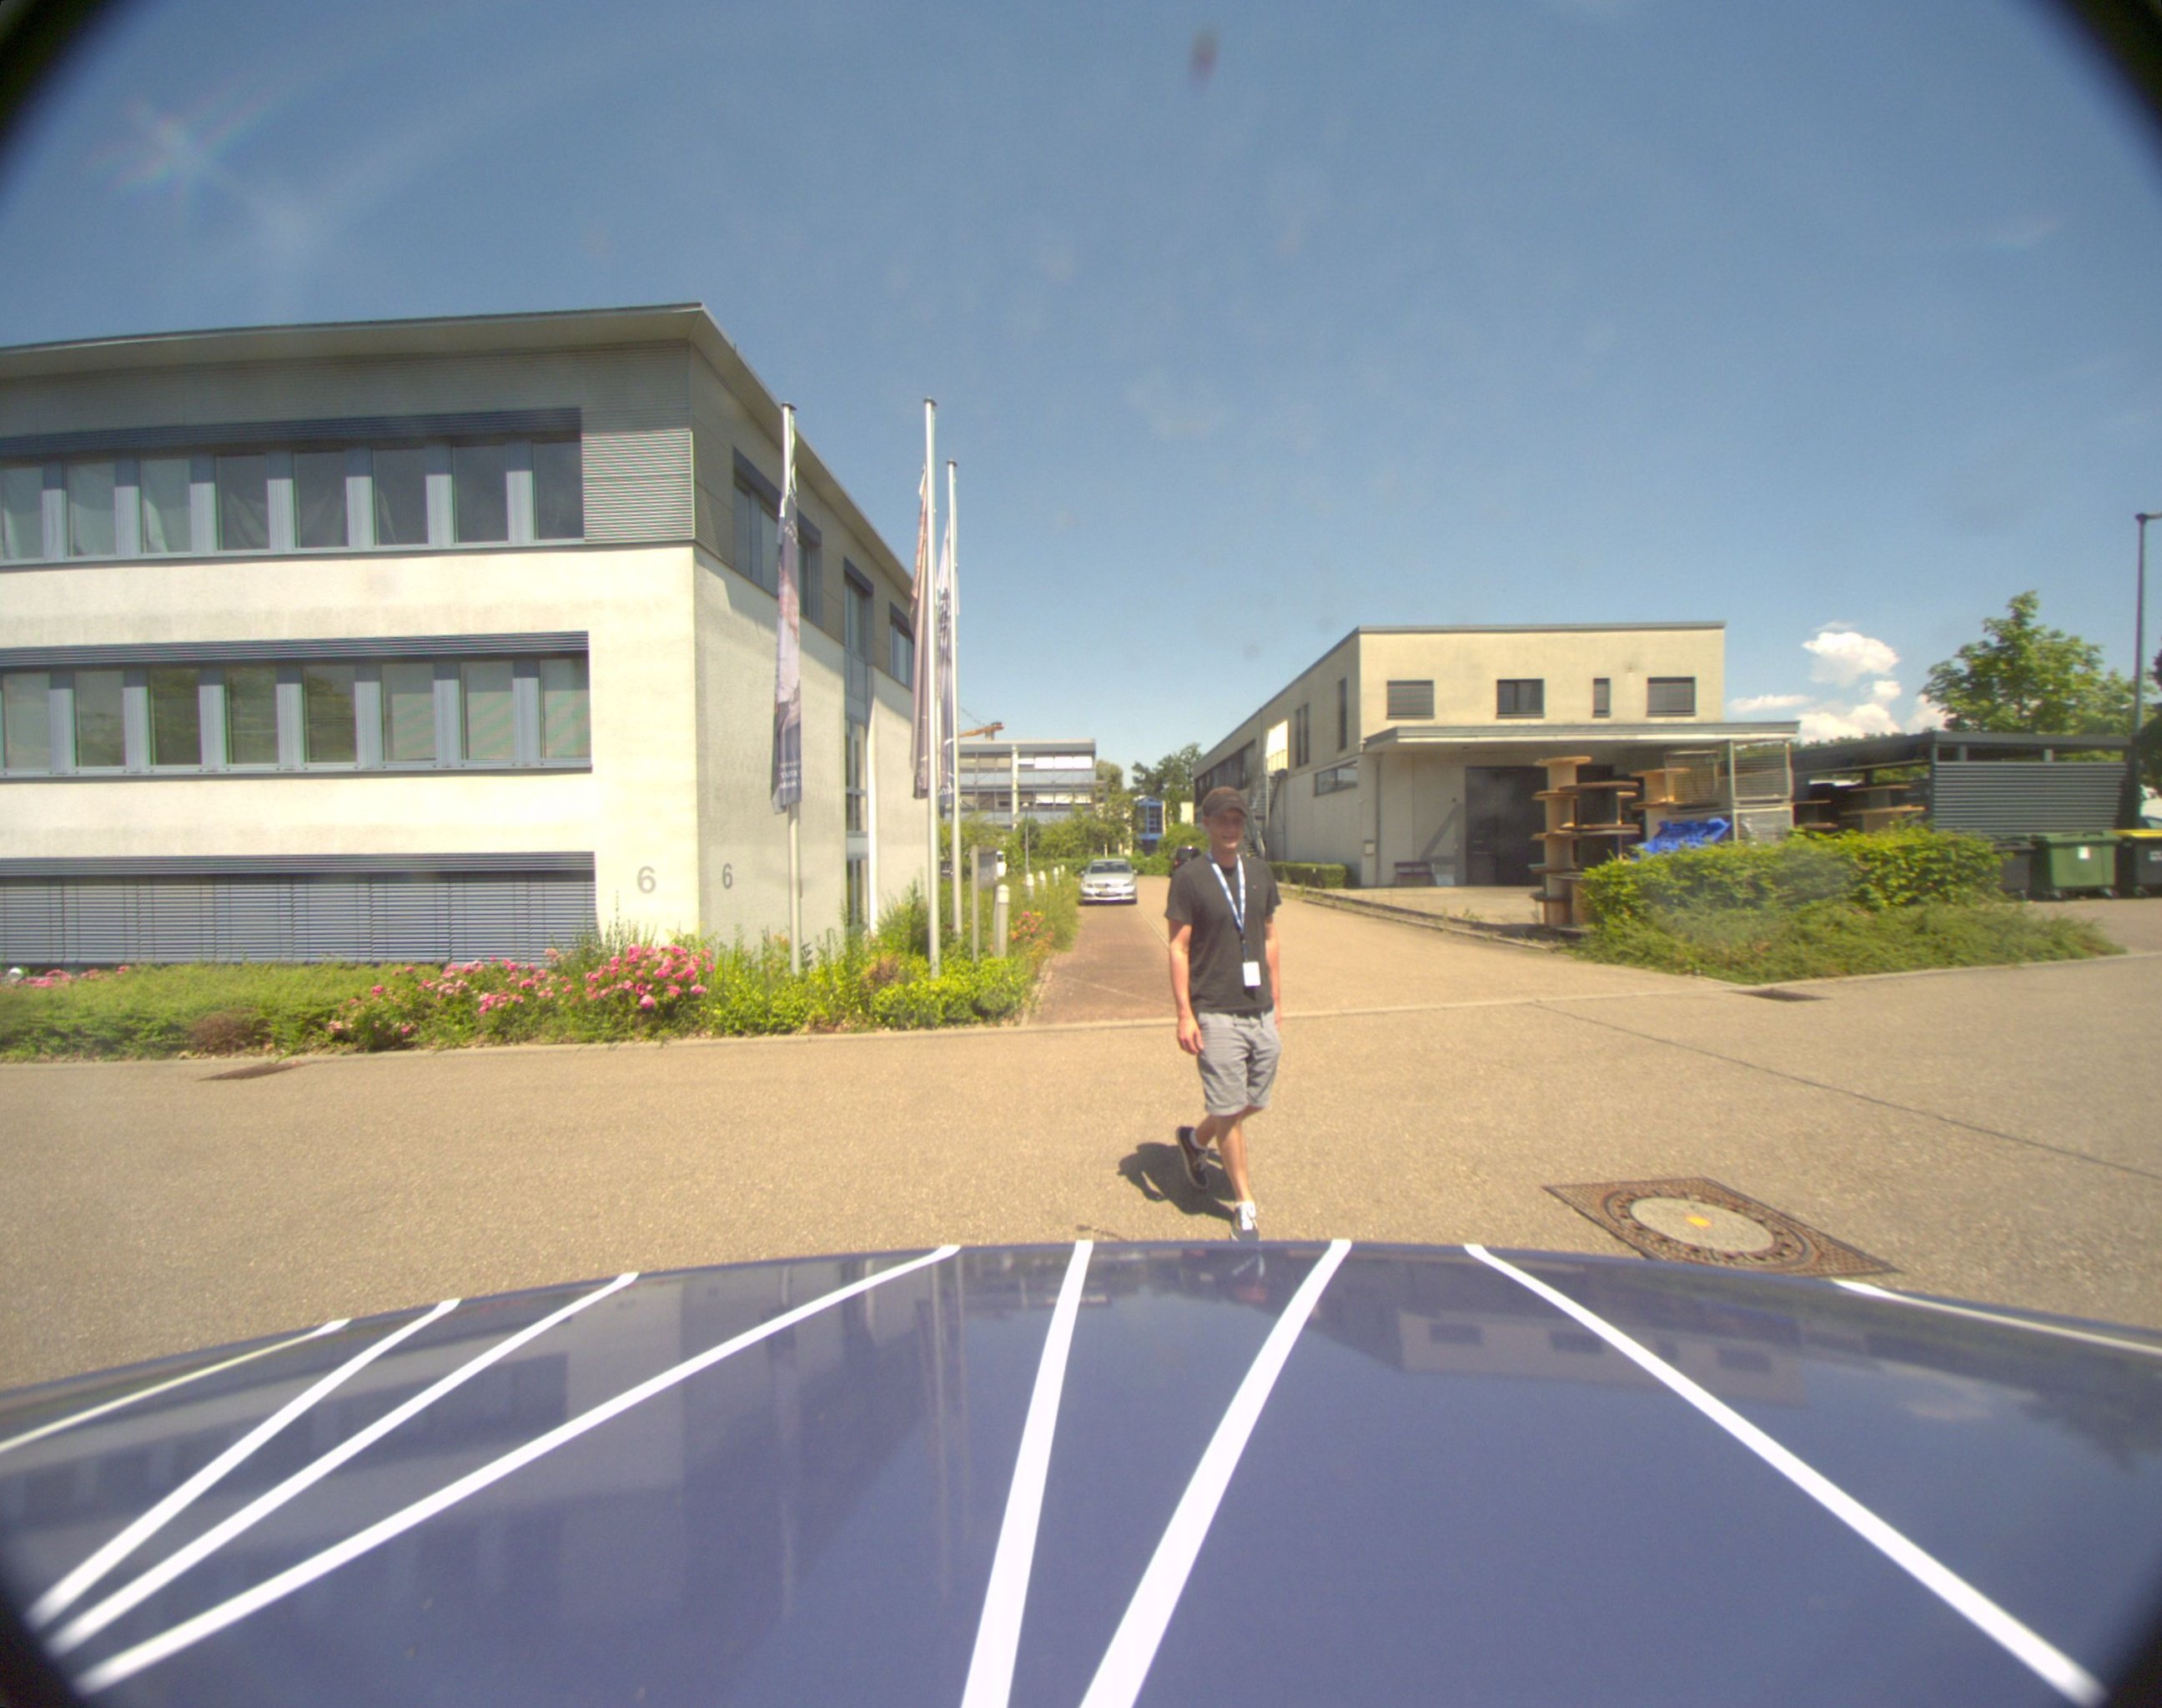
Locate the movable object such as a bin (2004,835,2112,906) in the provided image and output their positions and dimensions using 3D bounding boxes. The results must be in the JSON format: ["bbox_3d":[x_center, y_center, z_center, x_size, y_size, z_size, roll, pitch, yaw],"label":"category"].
[{"bbox_3d":[19.128,0.313,14.895,1.071,1.329,0.760,-2,1,6],"label":"movable object such as a bin"}]

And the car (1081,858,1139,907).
[{"bbox_3d":[1.017,0.881,24.839,1.710,1.383,3.812,-1,1,5],"label":"car"}]

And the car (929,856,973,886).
[{"bbox_3d":[-7.679,0.967,45.330,1.787,1.537,4.000,-2,1,1],"label":"car"}]

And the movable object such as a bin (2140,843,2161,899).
[{"bbox_3d":[21.580,0.322,14.732,0.987,1.078,0.760,-2,1,6],"label":"movable object such as a bin"}]

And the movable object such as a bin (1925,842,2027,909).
[{"bbox_3d":[17.803,0.419,15.135,1.071,1.264,0.760,-2,1,6],"label":"movable object such as a bin"}]

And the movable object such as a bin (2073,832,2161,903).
[{"bbox_3d":[20.479,0.258,14.871,1.071,1.329,0.760,-2,1,6],"label":"movable object such as a bin"}]

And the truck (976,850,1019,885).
[{"bbox_3d":[-4.858,0.747,44.600,1.999,1.882,3.999,-2,1,0],"label":"truck"}]

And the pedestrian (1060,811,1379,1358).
[{"bbox_3d":[0.569,0.762,3.122,0.902,1.809,0.862,-1,1,45],"label":"pedestrian"}]

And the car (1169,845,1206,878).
[{"bbox_3d":[6.299,0.380,45.275,1.787,1.793,4.000,-2,1,3],"label":"car"}]
